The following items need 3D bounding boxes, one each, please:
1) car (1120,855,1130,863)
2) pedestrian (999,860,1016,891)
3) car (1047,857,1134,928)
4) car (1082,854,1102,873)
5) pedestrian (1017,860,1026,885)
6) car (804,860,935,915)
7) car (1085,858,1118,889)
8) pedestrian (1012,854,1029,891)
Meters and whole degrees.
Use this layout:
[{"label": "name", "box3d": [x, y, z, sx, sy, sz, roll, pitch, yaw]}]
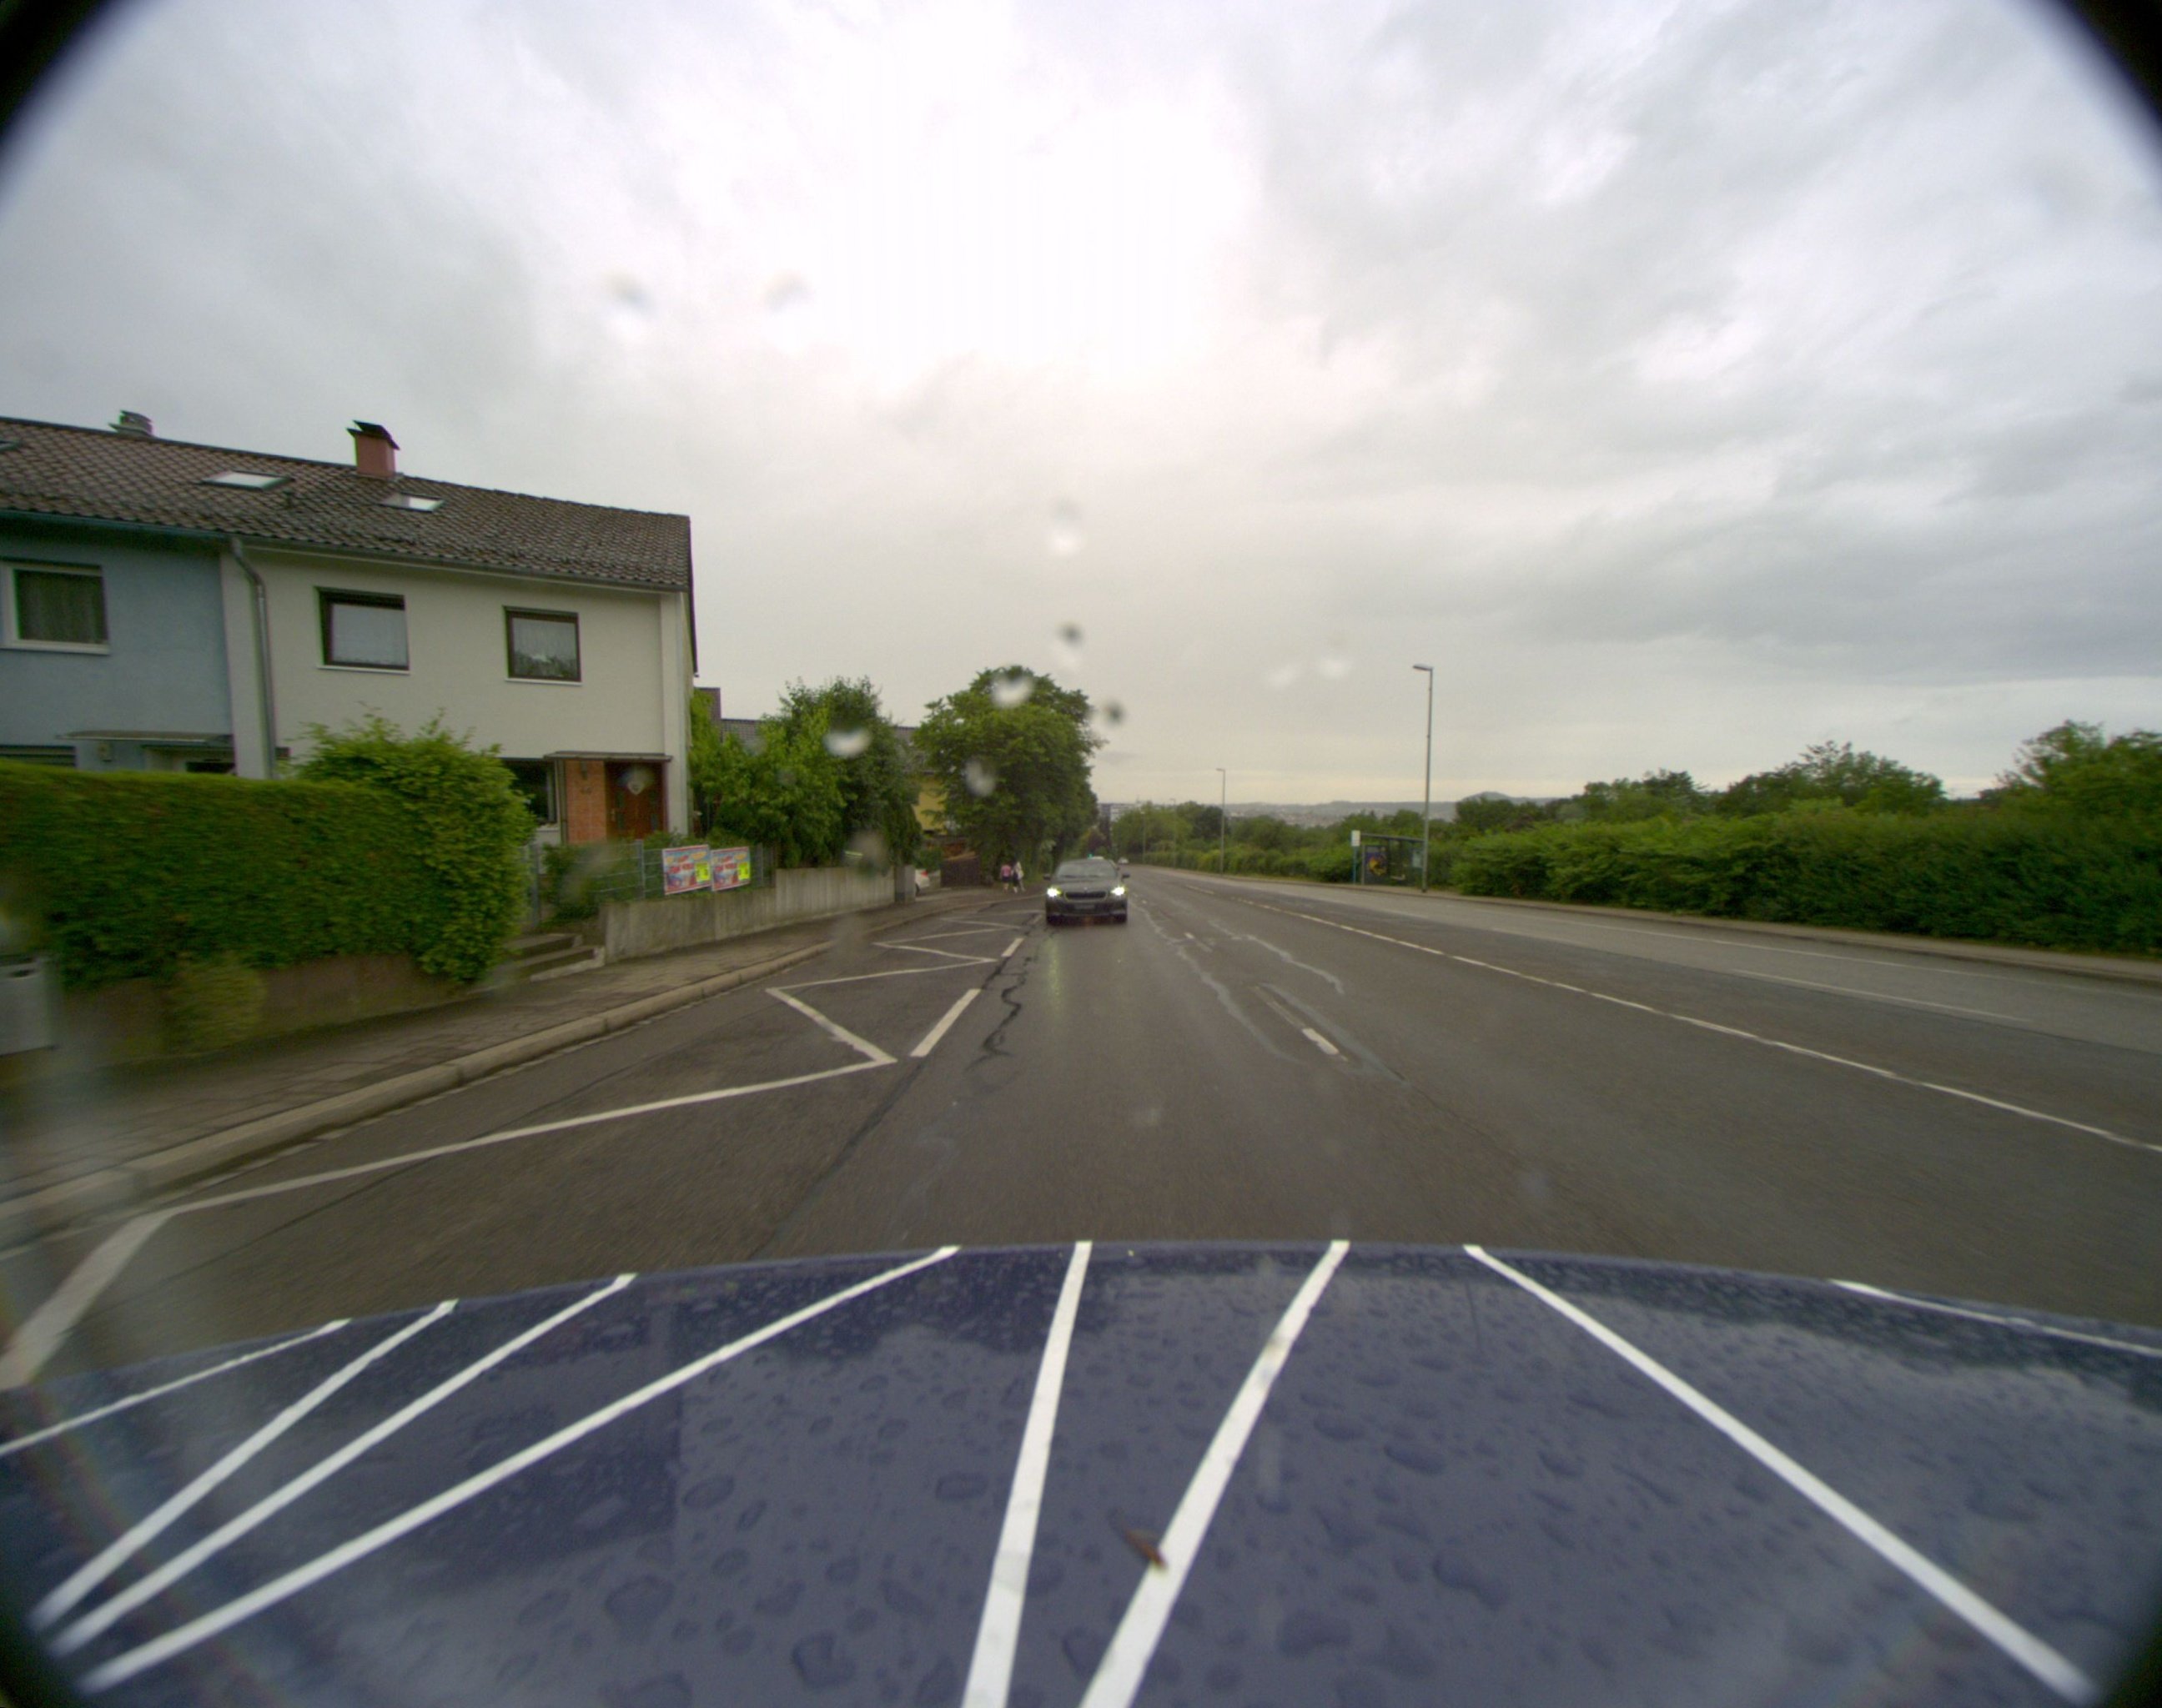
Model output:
[{"label": "car", "box3d": [9.246, 1.108, 160.883, 1.761, 1.559, 3.999, 1, 0, 0]}, {"label": "pedestrian", "box3d": [-3.240, 0.959, 33.445, 0.603, 1.347, 0.646, 0, 1, 9]}, {"label": "car", "box3d": [0.120, 0.850, 18.853, 1.846, 1.371, 4.281, -3, 1, -2]}, {"label": "car", "box3d": [1.048, 0.812, 69.197, 1.702, 1.670, 4.284, 0, 0, 3]}, {"label": "pedestrian", "box3d": [-2.724, 0.839, 34.770, 0.368, 1.140, 0.366, 0, 1, 9]}, {"label": "car", "box3d": [-8.409, 1.275, 30.335, 4.607, 1.413, 1.785, -9, 5, -28]}, {"label": "car", "box3d": [1.104, 0.977, 39.533, 1.550, 1.505, 4.284, 0, 0, 3]}, {"label": "pedestrian", "box3d": [-2.639, 0.796, 33.353, 0.611, 1.584, 0.646, 0, 1, 9]}]
